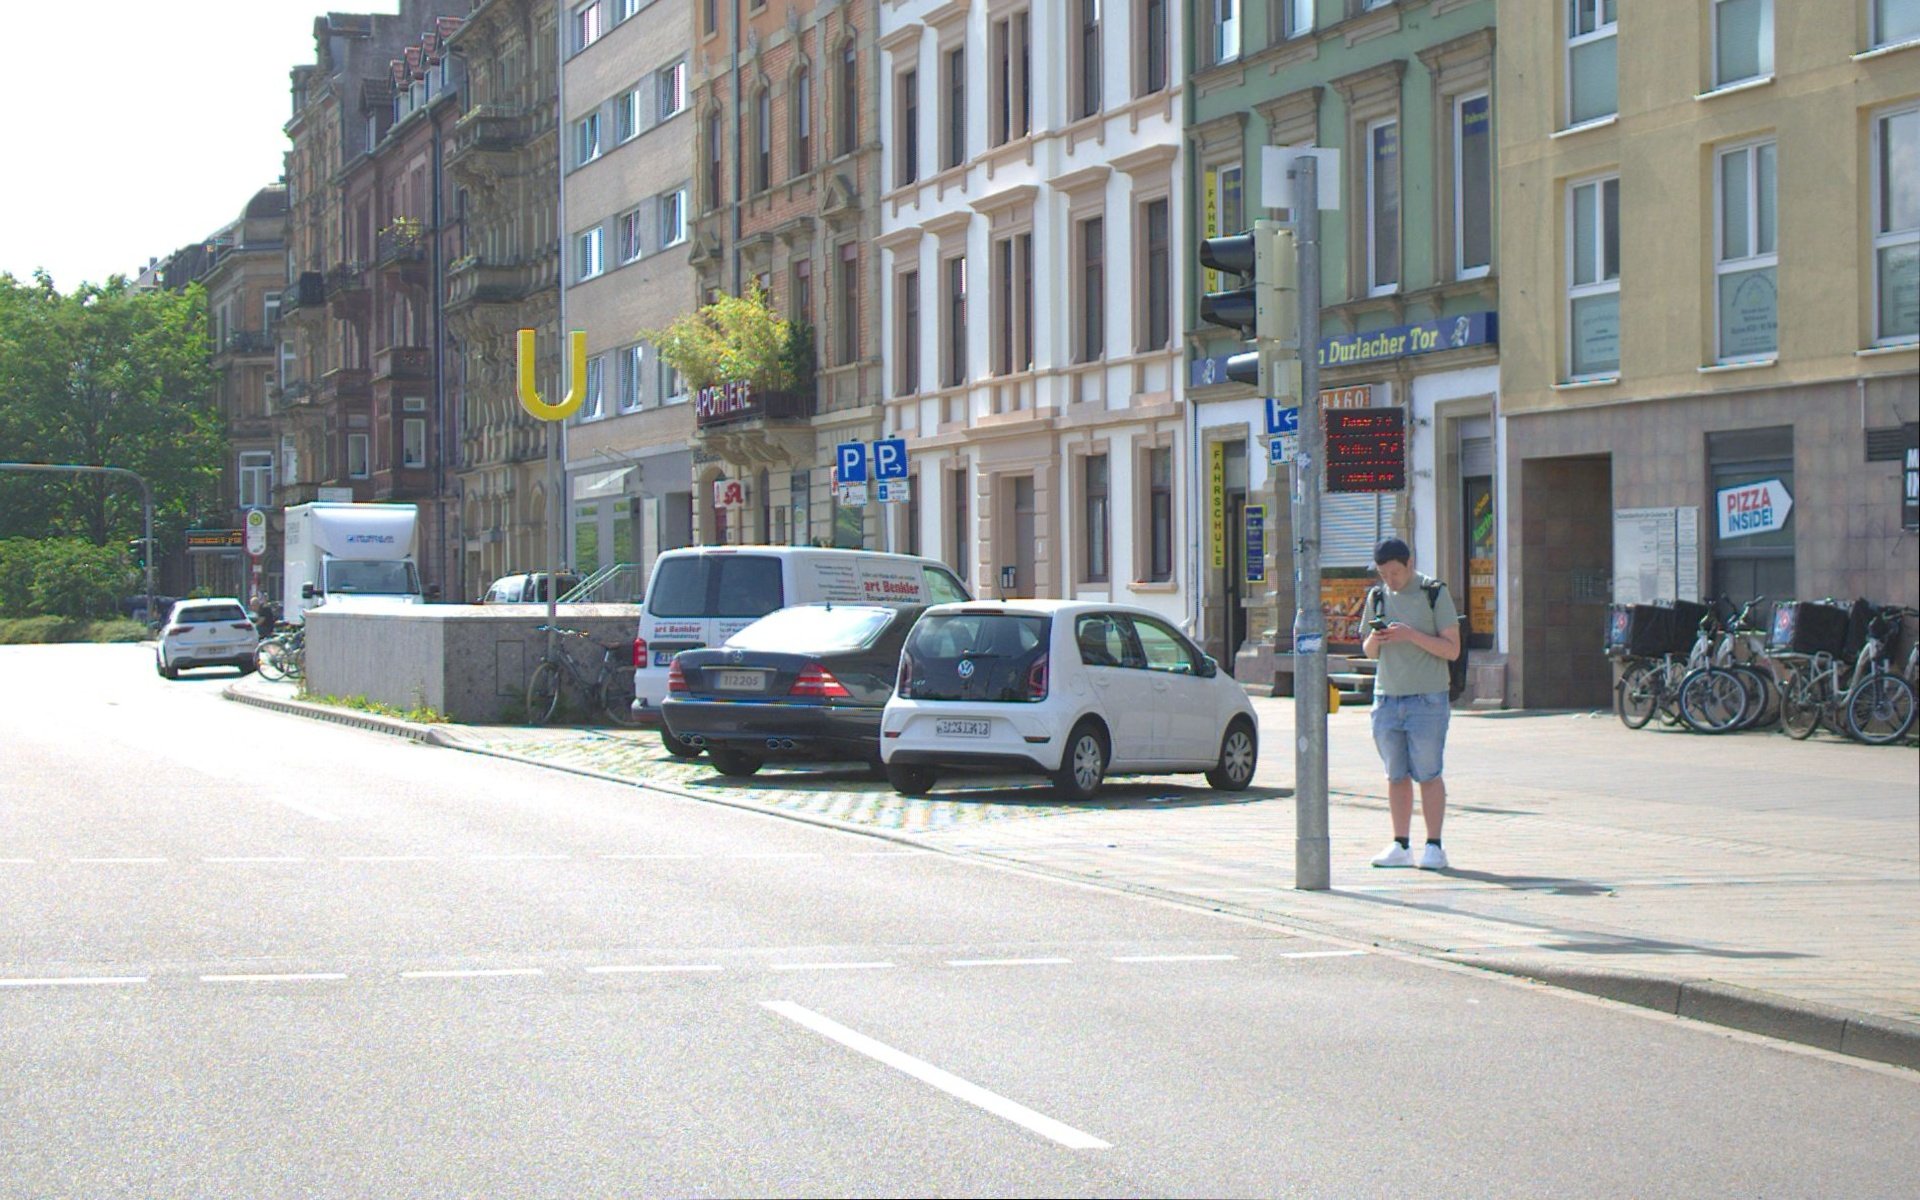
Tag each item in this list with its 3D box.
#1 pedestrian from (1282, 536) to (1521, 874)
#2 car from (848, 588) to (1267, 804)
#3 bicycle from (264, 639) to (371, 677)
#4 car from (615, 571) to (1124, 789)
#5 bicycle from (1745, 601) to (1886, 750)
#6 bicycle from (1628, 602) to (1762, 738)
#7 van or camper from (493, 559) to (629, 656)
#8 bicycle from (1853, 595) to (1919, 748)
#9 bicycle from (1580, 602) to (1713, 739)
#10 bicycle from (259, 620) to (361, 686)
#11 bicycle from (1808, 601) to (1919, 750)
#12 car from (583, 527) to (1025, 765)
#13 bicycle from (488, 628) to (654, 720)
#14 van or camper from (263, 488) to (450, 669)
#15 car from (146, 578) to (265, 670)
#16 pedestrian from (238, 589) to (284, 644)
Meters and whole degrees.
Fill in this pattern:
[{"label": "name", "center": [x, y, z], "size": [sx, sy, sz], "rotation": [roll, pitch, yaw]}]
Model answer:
[{"label": "pedestrian", "center": [2.370, 0.549, 18.457], "size": [0.992, 1.754, 0.785], "rotation": [0, -1, -42]}, {"label": "car", "center": [0.809, 0.676, 26.377], "size": [1.717, 1.435, 3.506], "rotation": [1, 2, 31]}, {"label": "bicycle", "center": [-10.635, 0.956, 56.890], "size": [1.768, 0.584, 0.637], "rotation": [0, 3, 32]}, {"label": "car", "center": [-0.635, 0.588, 28.872], "size": [1.888, 1.463, 5.056], "rotation": [0, 3, 30]}, {"label": "bicycle", "center": [7.559, 0.652, 30.445], "size": [0.486, 1.197, 1.646], "rotation": [-2, 3, -14]}, {"label": "bicycle", "center": [7.080, 0.659, 33.187], "size": [0.486, 1.197, 1.646], "rotation": [-2, 3, -18]}, {"label": "van or camper", "center": [-9.381, 0.134, 80.479], "size": [1.993, 1.898, 5.300], "rotation": [-4, 4, -18]}, {"label": "bicycle", "center": [8.091, 0.603, 28.600], "size": [0.547, 1.197, 1.646], "rotation": [-2, 3, -14]}, {"label": "bicycle", "center": [6.571, 0.657, 32.983], "size": [0.486, 1.197, 1.646], "rotation": [-2, 3, -18]}, {"label": "bicycle", "center": [-11.562, 0.938, 61.191], "size": [1.758, 1.081, 0.372], "rotation": [-2, 4, -30]}, {"label": "bicycle", "center": [8.126, 0.648, 30.414], "size": [0.486, 1.197, 1.646], "rotation": [-2, 3, -14]}, {"label": "car", "center": [-1.386, 0.353, 32.927], "size": [2.076, 2.077, 4.892], "rotation": [0, 1, 27]}, {"label": "bicycle", "center": [-4.397, 0.830, 38.882], "size": [1.772, 1.000, 0.513], "rotation": [0, 2, -24]}, {"label": "van or camper", "center": [-12.264, -0.538, 69.355], "size": [2.711, 3.319, 7.642], "rotation": [-2, 3, -17]}, {"label": "car", "center": [-14.406, 0.433, 65.492], "size": [1.790, 1.432, 4.345], "rotation": [-6, 3, -16]}, {"label": "pedestrian", "center": [-17.135, 0.401, 84.289], "size": [0.820, 1.311, 0.743], "rotation": [2, 2, 33]}]
